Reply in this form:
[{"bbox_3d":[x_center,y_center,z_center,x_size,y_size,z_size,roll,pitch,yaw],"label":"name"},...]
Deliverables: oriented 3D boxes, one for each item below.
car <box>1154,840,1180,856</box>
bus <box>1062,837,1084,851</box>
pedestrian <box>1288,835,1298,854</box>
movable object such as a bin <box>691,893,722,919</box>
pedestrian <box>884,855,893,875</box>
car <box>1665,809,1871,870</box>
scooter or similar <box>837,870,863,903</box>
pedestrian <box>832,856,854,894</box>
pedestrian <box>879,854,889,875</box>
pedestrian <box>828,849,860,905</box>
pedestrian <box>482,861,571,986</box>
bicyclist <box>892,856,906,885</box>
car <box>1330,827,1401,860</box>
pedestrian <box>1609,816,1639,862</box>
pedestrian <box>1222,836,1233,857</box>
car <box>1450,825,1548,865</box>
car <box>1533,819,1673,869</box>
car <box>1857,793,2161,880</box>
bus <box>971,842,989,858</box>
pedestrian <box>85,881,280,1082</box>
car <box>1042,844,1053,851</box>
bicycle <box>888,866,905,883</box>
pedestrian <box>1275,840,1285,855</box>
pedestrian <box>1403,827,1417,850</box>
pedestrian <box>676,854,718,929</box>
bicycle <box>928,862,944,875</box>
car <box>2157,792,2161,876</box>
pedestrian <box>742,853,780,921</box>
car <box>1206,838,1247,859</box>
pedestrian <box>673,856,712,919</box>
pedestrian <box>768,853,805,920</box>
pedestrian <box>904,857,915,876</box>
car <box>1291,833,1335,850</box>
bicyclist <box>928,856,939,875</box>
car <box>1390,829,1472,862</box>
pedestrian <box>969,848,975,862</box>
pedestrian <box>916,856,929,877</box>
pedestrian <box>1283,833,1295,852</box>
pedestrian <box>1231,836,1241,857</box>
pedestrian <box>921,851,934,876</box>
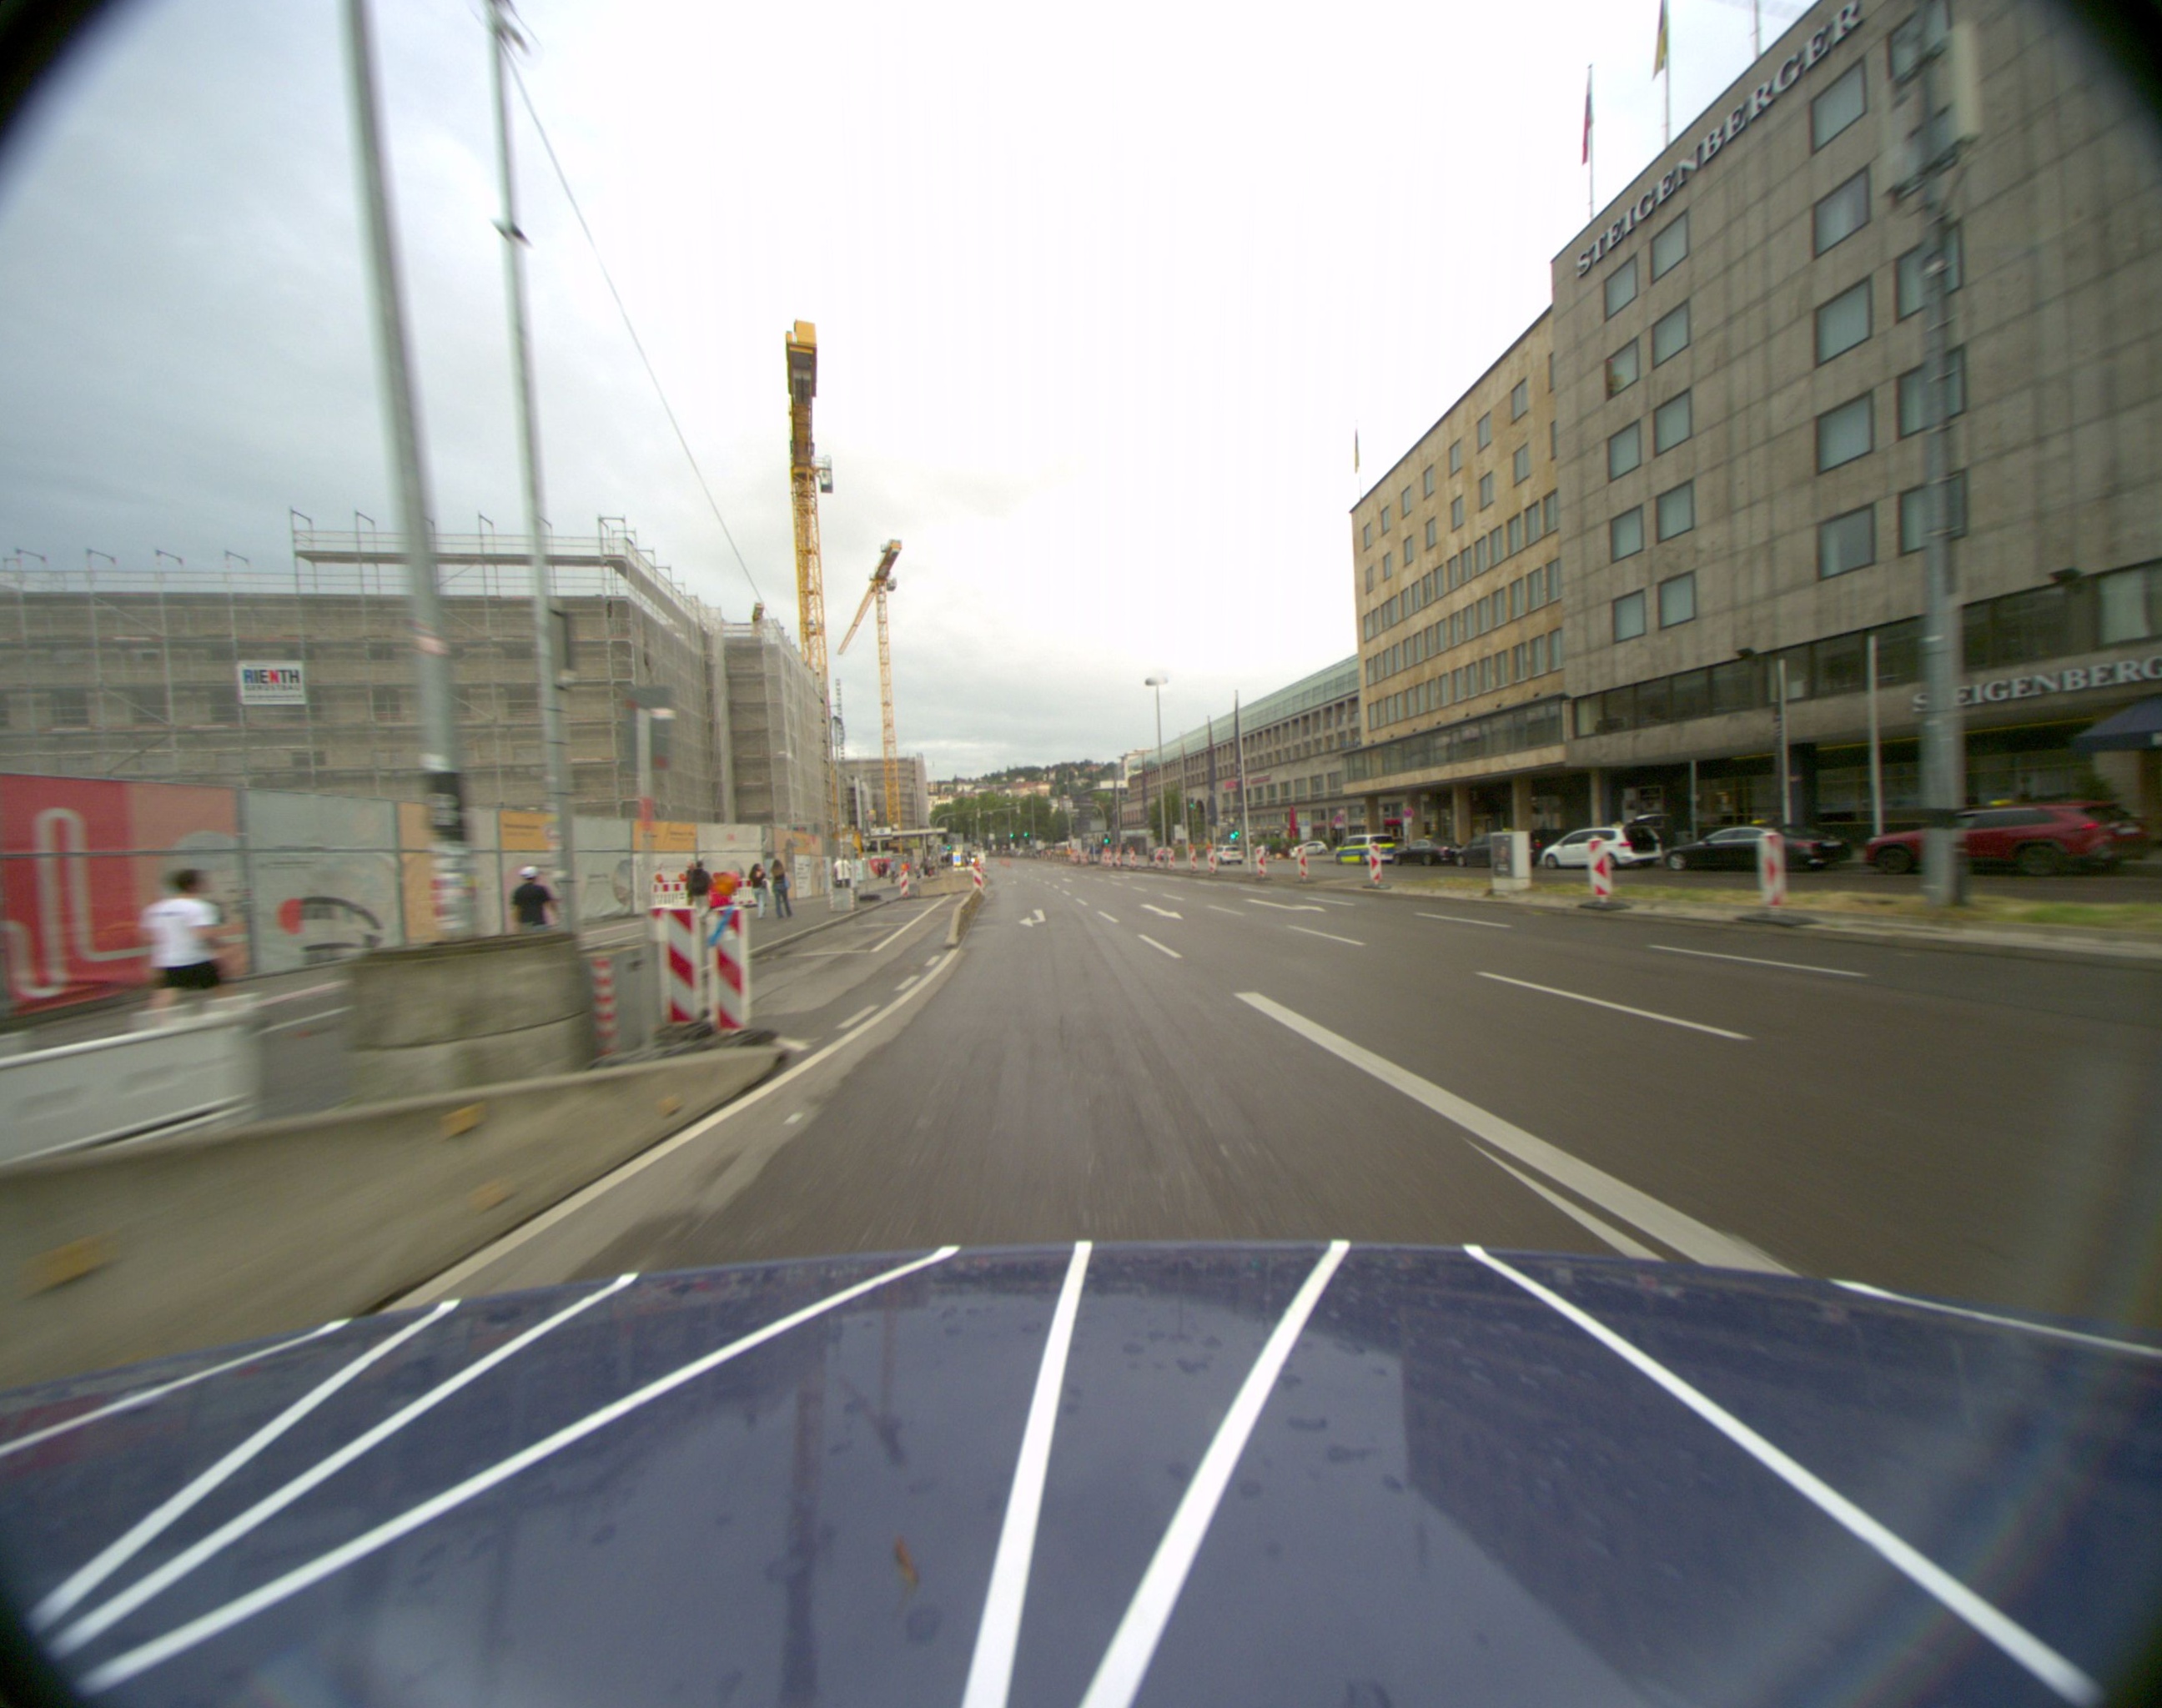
[{"bbox_3d":[9.489,-0.669,84.336,1.780,1.659,4.496,-2,1,-7],"label":"car"},{"bbox_3d":[-1.785,-2.253,168.810,2.911,2.923,9.812,-3,1,-11],"label":"bus"},{"bbox_3d":[18.298,-0.815,65.555,0.565,1.659,0.752,-3,1,-11],"label":"pedestrian"},{"bbox_3d":[-11.763,1.628,23.902,0.598,0.730,0.777,-3,1,-6],"label":"movable object such as a bin"},{"bbox_3d":[-19.419,1.081,76.725,0.629,2.002,0.577,-4,2,-41],"label":"pedestrian"},{"bbox_3d":[21.380,-0.415,23.964,1.909,1.650,4.613,-3,1,-8],"label":"car"},{"bbox_3d":[-8.792,1.220,28.922,0.666,1.191,1.043,-3,1,-3],"label":"scooter or similar"},{"bbox_3d":[-12.307,1.081,39.375,0.851,1.884,0.661,-3,1,-4],"label":"pedestrian"},{"bbox_3d":[-19.503,1.037,75.108,0.640,2.002,0.628,-2,1,16],"label":"pedestrian"},{"bbox_3d":[-8.683,0.820,27.880,0.805,2.005,0.971,-3,1,-3],"label":"pedestrian"},{"bbox_3d":[-8.168,0.997,11.234,0.644,1.730,0.837,-3,1,-6],"label":"pedestrian"},{"bbox_3d":[-13.168,1.188,54.997,0.729,2.002,0.599,-3,1,-4],"label":"bicyclist"},{"bbox_3d":[18.018,-0.646,48.363,1.906,1.917,5.071,-2,0,-9],"label":"car"},{"bbox_3d":[21.558,-0.597,30.163,0.623,1.771,0.657,-5,2,-8],"label":"pedestrian"},{"bbox_3d":[14.296,-0.712,74.184,0.705,2.002,0.806,-3,1,-8],"label":"pedestrian"},{"bbox_3d":[19.367,-0.409,35.430,1.760,1.672,4.225,-3,0,-8],"label":"car"},{"bbox_3d":[20.414,-0.383,30.013,1.760,1.748,4.706,-3,1,-9],"label":"car"},{"bbox_3d":[22.303,-0.411,18.452,1.908,1.758,4.643,-3,1,-7],"label":"car"},{"bbox_3d":[-20.499,-0.764,154.332,3.002,3.120,7.757,-3,1,-11],"label":"bus"},{"bbox_3d":[-8.538,1.157,7.275,0.685,1.730,0.907,-3,1,-6],"label":"pedestrian"},{"bbox_3d":[-7.954,-1.503,181.413,1.888,1.674,3.996,-3,1,-11],"label":"car"},{"bbox_3d":[-13.407,1.490,55.233,0.768,1.105,1.980,-3,1,-4],"label":"bicycle"},{"bbox_3d":[17.592,-0.604,67.214,0.565,1.284,0.752,-3,1,-11],"label":"pedestrian"},{"bbox_3d":[27.327,-1.318,63.078,0.717,1.865,0.772,-3,1,-4],"label":"pedestrian"},{"bbox_3d":[-9.974,0.953,19.754,0.686,1.878,0.693,-3,1,-7],"label":"pedestrian"},{"bbox_3d":[-13.015,1.295,68.229,0.755,1.127,1.993,-1,1,11],"label":"bicycle"},{"bbox_3d":[22.885,-0.422,13.160,1.822,1.688,4.574,-3,1,-9],"label":"car"},{"bbox_3d":[-9.154,0.935,21.751,0.685,1.878,0.693,-3,1,-3],"label":"pedestrian"},{"bbox_3d":[12.045,-0.455,63.112,1.830,1.659,4.496,-3,1,-9],"label":"car"},{"bbox_3d":[-12.020,1.028,23.513,0.769,1.884,0.653,-3,1,-4],"label":"pedestrian"},{"bbox_3d":[-8.432,0.917,21.774,0.685,1.878,0.693,-3,1,-3],"label":"pedestrian"},{"bbox_3d":[-15.980,1.158,70.892,0.745,1.717,0.712,1,1,-40],"label":"pedestrian"},{"bbox_3d":[24.704,-1.331,80.939,4.092,1.630,1.805,-3,1,-4],"label":"car"},{"bbox_3d":[-13.144,1.009,67.718,0.696,1.695,0.434,-3,1,10],"label":"bicyclist"},{"bbox_3d":[18.750,-0.439,40.942,1.760,1.612,4.560,-3,1,-9],"label":"car"},{"bbox_3d":[-15.569,0.101,108.736,0.735,2.002,0.645,-3,2,-14],"label":"pedestrian"},{"bbox_3d":[-13.631,1.072,65.369,0.815,1.746,0.881,-3,1,-4],"label":"pedestrian"},{"bbox_3d":[18.292,-1.009,66.872,0.667,1.583,0.680,-3,2,-19],"label":"pedestrian"},{"bbox_3d":[14.752,-0.734,72.258,0.591,1.914,0.751,-3,1,-9],"label":"pedestrian"},{"bbox_3d":[-12.463,0.739,61.839,0.788,2.000,0.865,-3,1,1],"label":"pedestrian"}]
